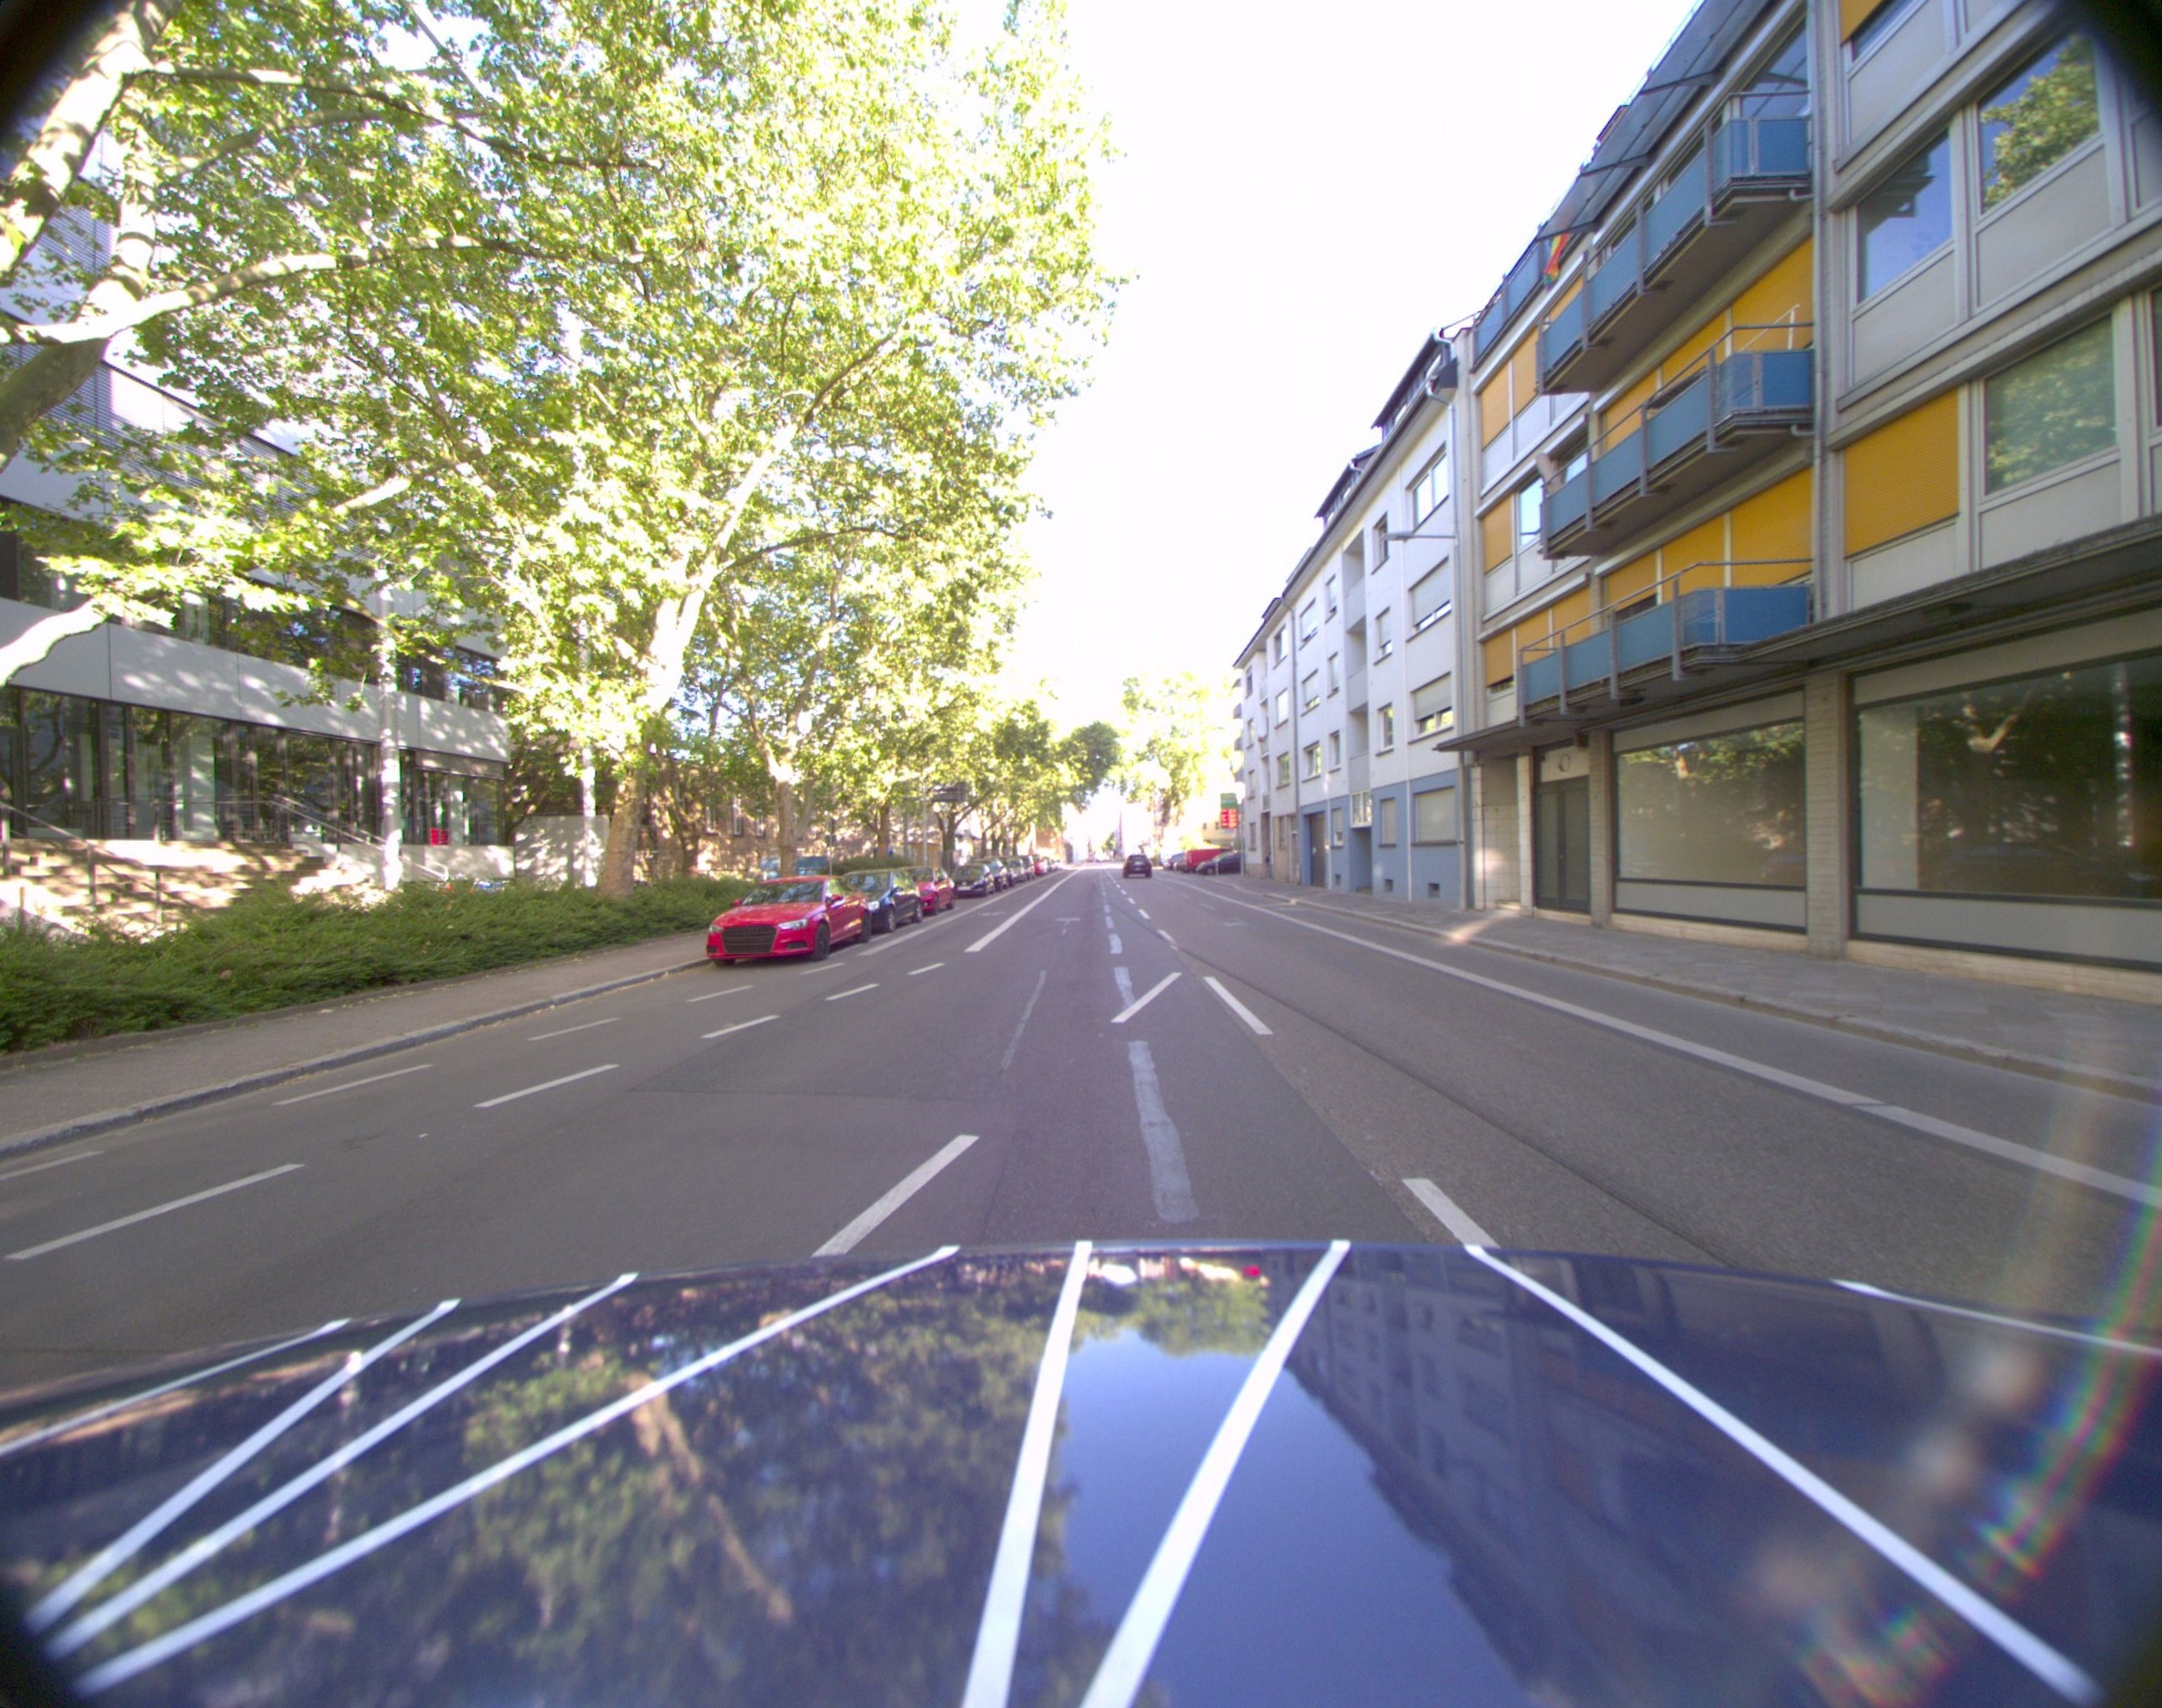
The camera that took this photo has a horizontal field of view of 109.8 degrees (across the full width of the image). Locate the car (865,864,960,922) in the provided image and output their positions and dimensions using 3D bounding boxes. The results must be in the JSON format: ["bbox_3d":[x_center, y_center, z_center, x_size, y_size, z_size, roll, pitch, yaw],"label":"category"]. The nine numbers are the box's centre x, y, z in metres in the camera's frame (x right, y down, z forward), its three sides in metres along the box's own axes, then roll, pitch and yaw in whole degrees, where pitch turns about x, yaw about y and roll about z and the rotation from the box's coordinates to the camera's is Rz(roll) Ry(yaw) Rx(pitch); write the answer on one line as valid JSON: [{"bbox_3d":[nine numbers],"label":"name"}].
[{"bbox_3d":[-5.127,1.149,23.662,1.998,1.490,3.828,-2,1,1],"label":"car"}]

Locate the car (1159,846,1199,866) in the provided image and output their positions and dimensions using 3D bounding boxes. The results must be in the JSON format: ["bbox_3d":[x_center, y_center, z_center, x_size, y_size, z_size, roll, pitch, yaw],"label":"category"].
[{"bbox_3d":[10.952,0.219,85.308,4.236,2.025,2.000,-2,1,3],"label":"car"}]

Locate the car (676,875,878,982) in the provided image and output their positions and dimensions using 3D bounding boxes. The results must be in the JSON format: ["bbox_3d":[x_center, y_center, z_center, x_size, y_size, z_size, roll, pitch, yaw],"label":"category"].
[{"bbox_3d":[-5.186,1.197,13.632,1.907,1.417,3.999,-2,1,1],"label":"car"}]

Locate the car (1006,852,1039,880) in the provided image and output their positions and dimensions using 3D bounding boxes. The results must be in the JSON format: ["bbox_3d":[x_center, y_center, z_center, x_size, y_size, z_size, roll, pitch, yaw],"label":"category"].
[{"bbox_3d":[-4.254,0.845,55.636,1.998,1.838,3.999,-2,1,1],"label":"car"}]

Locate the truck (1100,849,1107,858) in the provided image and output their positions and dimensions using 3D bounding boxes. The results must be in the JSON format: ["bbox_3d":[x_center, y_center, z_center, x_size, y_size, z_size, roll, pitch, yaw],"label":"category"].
[{"bbox_3d":[6.880,-0.297,233.818,1.998,2.653,5.314,-2,1,0],"label":"truck"}]

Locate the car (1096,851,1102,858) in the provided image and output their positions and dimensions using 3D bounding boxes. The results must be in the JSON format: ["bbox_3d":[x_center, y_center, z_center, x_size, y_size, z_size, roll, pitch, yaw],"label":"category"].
[{"bbox_3d":[6.168,0.190,259.449,1.998,2.002,3.999,-2,1,1],"label":"car"}]

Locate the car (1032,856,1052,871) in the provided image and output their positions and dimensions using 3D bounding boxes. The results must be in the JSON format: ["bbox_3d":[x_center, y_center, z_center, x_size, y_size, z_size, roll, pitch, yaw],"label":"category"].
[{"bbox_3d":[-4.136,0.988,80.744,1.824,1.466,3.999,-2,1,1],"label":"car"}]

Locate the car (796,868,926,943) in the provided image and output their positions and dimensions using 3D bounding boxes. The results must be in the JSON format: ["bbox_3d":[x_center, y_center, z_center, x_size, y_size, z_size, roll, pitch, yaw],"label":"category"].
[{"bbox_3d":[-5.170,1.168,18.414,1.998,1.452,3.644,-2,1,1],"label":"car"}]

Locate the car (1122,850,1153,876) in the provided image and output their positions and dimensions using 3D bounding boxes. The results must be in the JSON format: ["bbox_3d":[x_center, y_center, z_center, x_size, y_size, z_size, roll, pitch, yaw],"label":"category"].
[{"bbox_3d":[3.798,0.566,51.457,1.847,1.668,3.999,-1,1,1],"label":"car"}]

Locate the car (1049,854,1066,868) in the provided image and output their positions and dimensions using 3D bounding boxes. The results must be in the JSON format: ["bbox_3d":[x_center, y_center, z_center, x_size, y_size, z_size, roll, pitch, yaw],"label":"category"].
[{"bbox_3d":[-3.183,0.907,103.003,1.998,1.682,3.999,-2,1,1],"label":"car"}]

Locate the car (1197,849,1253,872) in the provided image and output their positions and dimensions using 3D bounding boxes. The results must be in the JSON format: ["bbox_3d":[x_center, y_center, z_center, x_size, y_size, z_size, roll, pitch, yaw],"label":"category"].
[{"bbox_3d":[10.803,0.453,57.109,3.810,1.563,1.658,-2,1,0],"label":"car"}]

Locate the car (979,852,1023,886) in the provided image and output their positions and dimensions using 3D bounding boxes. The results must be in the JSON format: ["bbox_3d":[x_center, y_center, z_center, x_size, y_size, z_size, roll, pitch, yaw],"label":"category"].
[{"bbox_3d":[-4.606,0.839,44.511,1.998,1.777,4.572,-2,1,1],"label":"car"}]

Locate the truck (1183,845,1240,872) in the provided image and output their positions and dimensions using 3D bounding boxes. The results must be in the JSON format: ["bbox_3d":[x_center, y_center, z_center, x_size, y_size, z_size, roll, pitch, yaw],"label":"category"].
[{"bbox_3d":[10.289,0.322,60.211,4.092,1.913,2.000,-2,1,0],"label":"truck"}]

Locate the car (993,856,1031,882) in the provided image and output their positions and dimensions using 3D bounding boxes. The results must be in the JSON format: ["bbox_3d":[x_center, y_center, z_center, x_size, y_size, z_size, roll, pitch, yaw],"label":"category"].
[{"bbox_3d":[-4.568,0.970,50.857,1.998,1.557,4.142,-2,1,1],"label":"car"}]

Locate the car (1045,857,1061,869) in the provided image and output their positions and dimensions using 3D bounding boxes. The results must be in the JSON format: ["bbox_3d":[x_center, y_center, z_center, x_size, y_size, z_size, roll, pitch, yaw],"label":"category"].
[{"bbox_3d":[-3.345,1.070,92.732,1.693,1.364,3.999,-2,1,1],"label":"car"}]

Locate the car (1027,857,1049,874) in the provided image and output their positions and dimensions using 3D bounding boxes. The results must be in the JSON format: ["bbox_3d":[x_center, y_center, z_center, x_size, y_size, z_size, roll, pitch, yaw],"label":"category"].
[{"bbox_3d":[-4.035,1.082,71.992,1.824,1.466,3.999,-2,1,1],"label":"car"}]

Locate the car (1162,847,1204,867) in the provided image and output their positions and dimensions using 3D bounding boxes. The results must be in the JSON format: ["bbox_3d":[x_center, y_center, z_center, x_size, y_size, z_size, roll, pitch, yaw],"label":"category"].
[{"bbox_3d":[10.865,0.285,80.907,4.236,1.945,2.000,-2,1,3],"label":"car"}]

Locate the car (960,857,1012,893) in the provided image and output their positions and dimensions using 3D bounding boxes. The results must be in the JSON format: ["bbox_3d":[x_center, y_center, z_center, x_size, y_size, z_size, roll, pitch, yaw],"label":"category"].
[{"bbox_3d":[-4.683,1.006,38.113,1.998,1.592,4.142,-2,1,1],"label":"car"}]

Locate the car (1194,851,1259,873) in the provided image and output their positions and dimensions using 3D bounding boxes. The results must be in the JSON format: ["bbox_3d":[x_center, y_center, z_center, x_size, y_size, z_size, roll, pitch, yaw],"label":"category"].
[{"bbox_3d":[10.458,0.574,54.778,4.324,1.398,1.658,-2,1,0],"label":"car"}]

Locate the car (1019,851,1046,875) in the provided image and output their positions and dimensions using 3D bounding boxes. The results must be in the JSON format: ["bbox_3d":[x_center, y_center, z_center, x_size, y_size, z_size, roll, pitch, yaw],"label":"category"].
[{"bbox_3d":[-4.222,0.738,66.320,1.998,1.960,3.999,-2,1,1],"label":"car"}]

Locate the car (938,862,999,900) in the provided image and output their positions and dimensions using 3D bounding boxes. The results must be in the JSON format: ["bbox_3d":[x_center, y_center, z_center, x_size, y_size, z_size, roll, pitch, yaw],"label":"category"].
[{"bbox_3d":[-4.836,1.132,33.174,1.998,1.447,3.589,-2,1,1],"label":"car"}]
